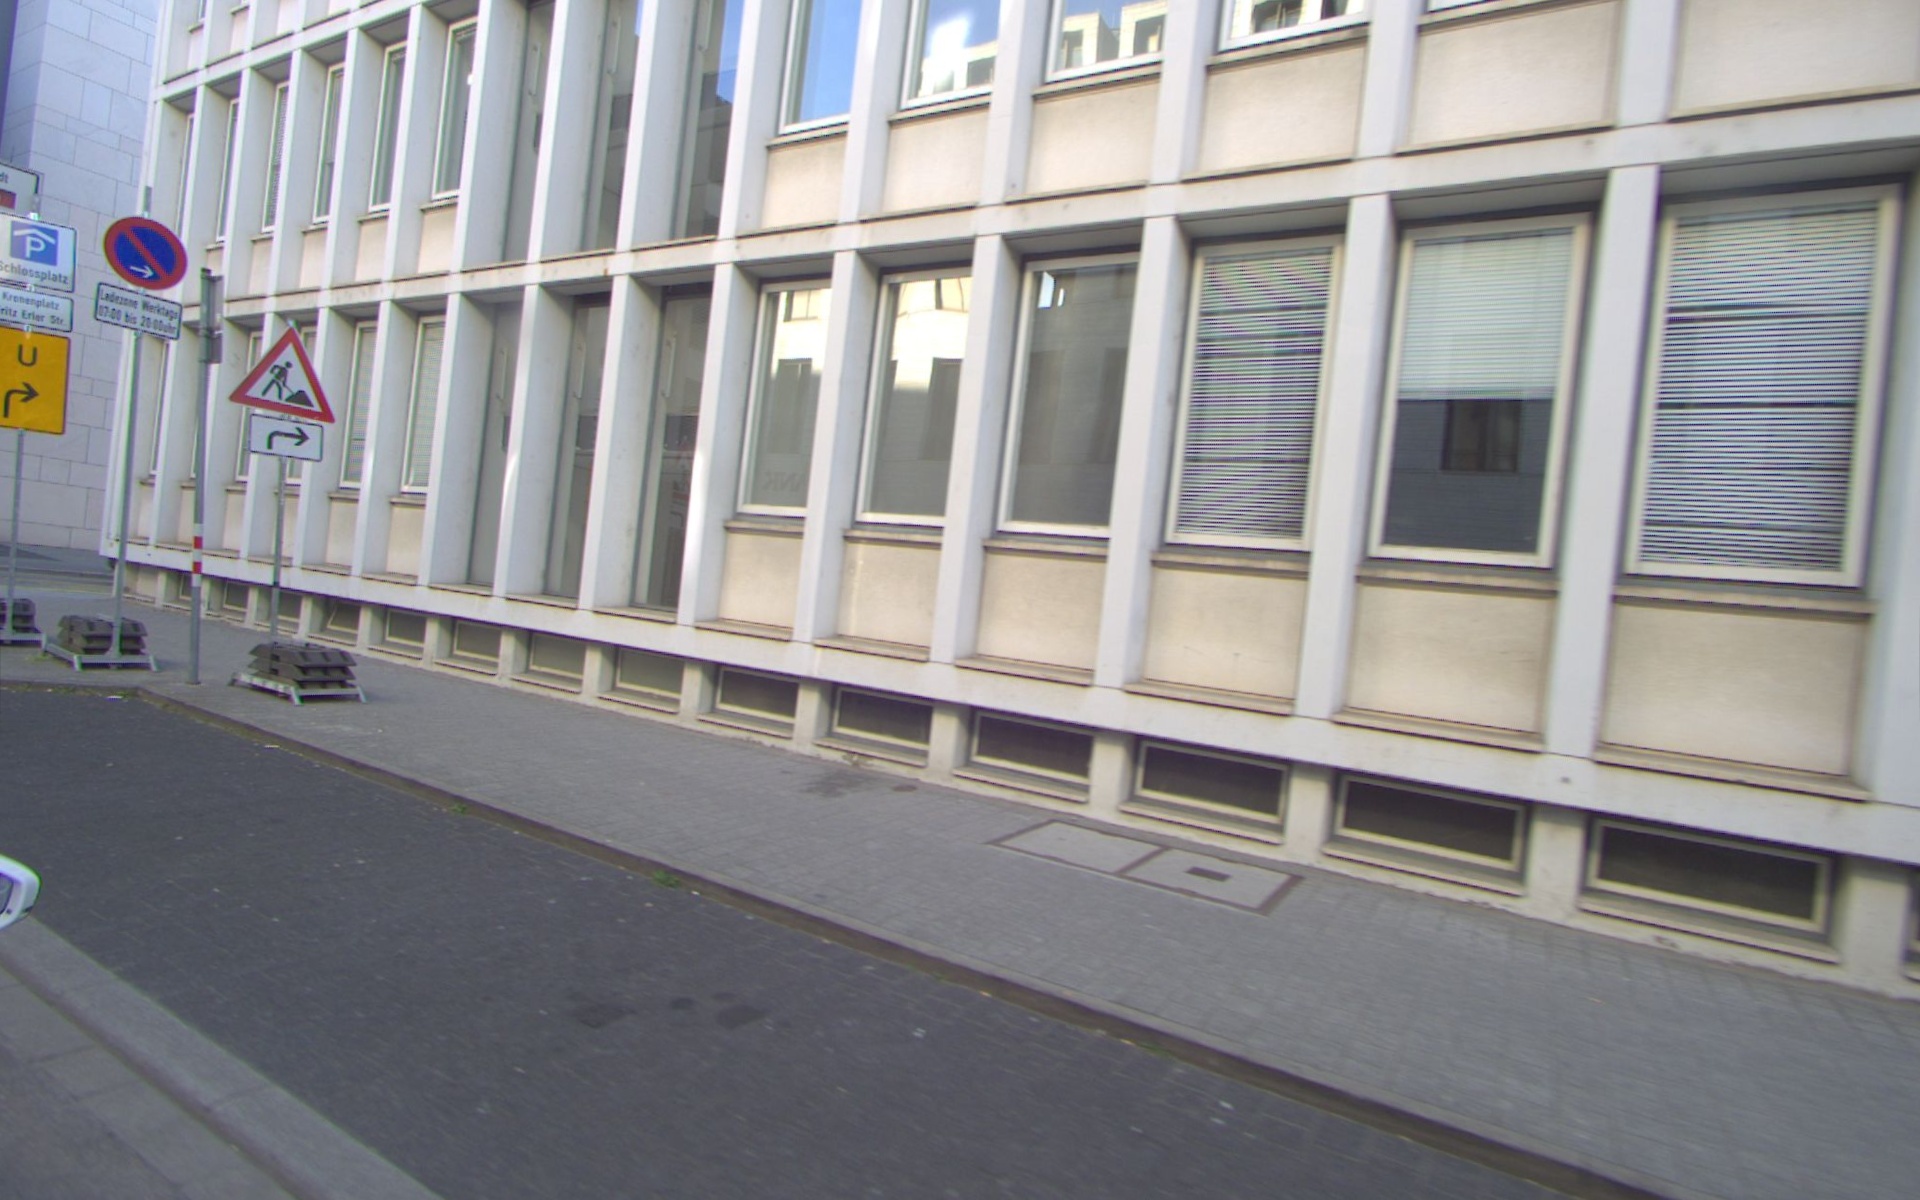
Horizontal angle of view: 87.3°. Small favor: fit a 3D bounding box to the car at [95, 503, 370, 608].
[{"bbox_3d":[-15.269,-0.887,21.298,1.803,1.560,4.344,8,0,42],"label":"car"}]
